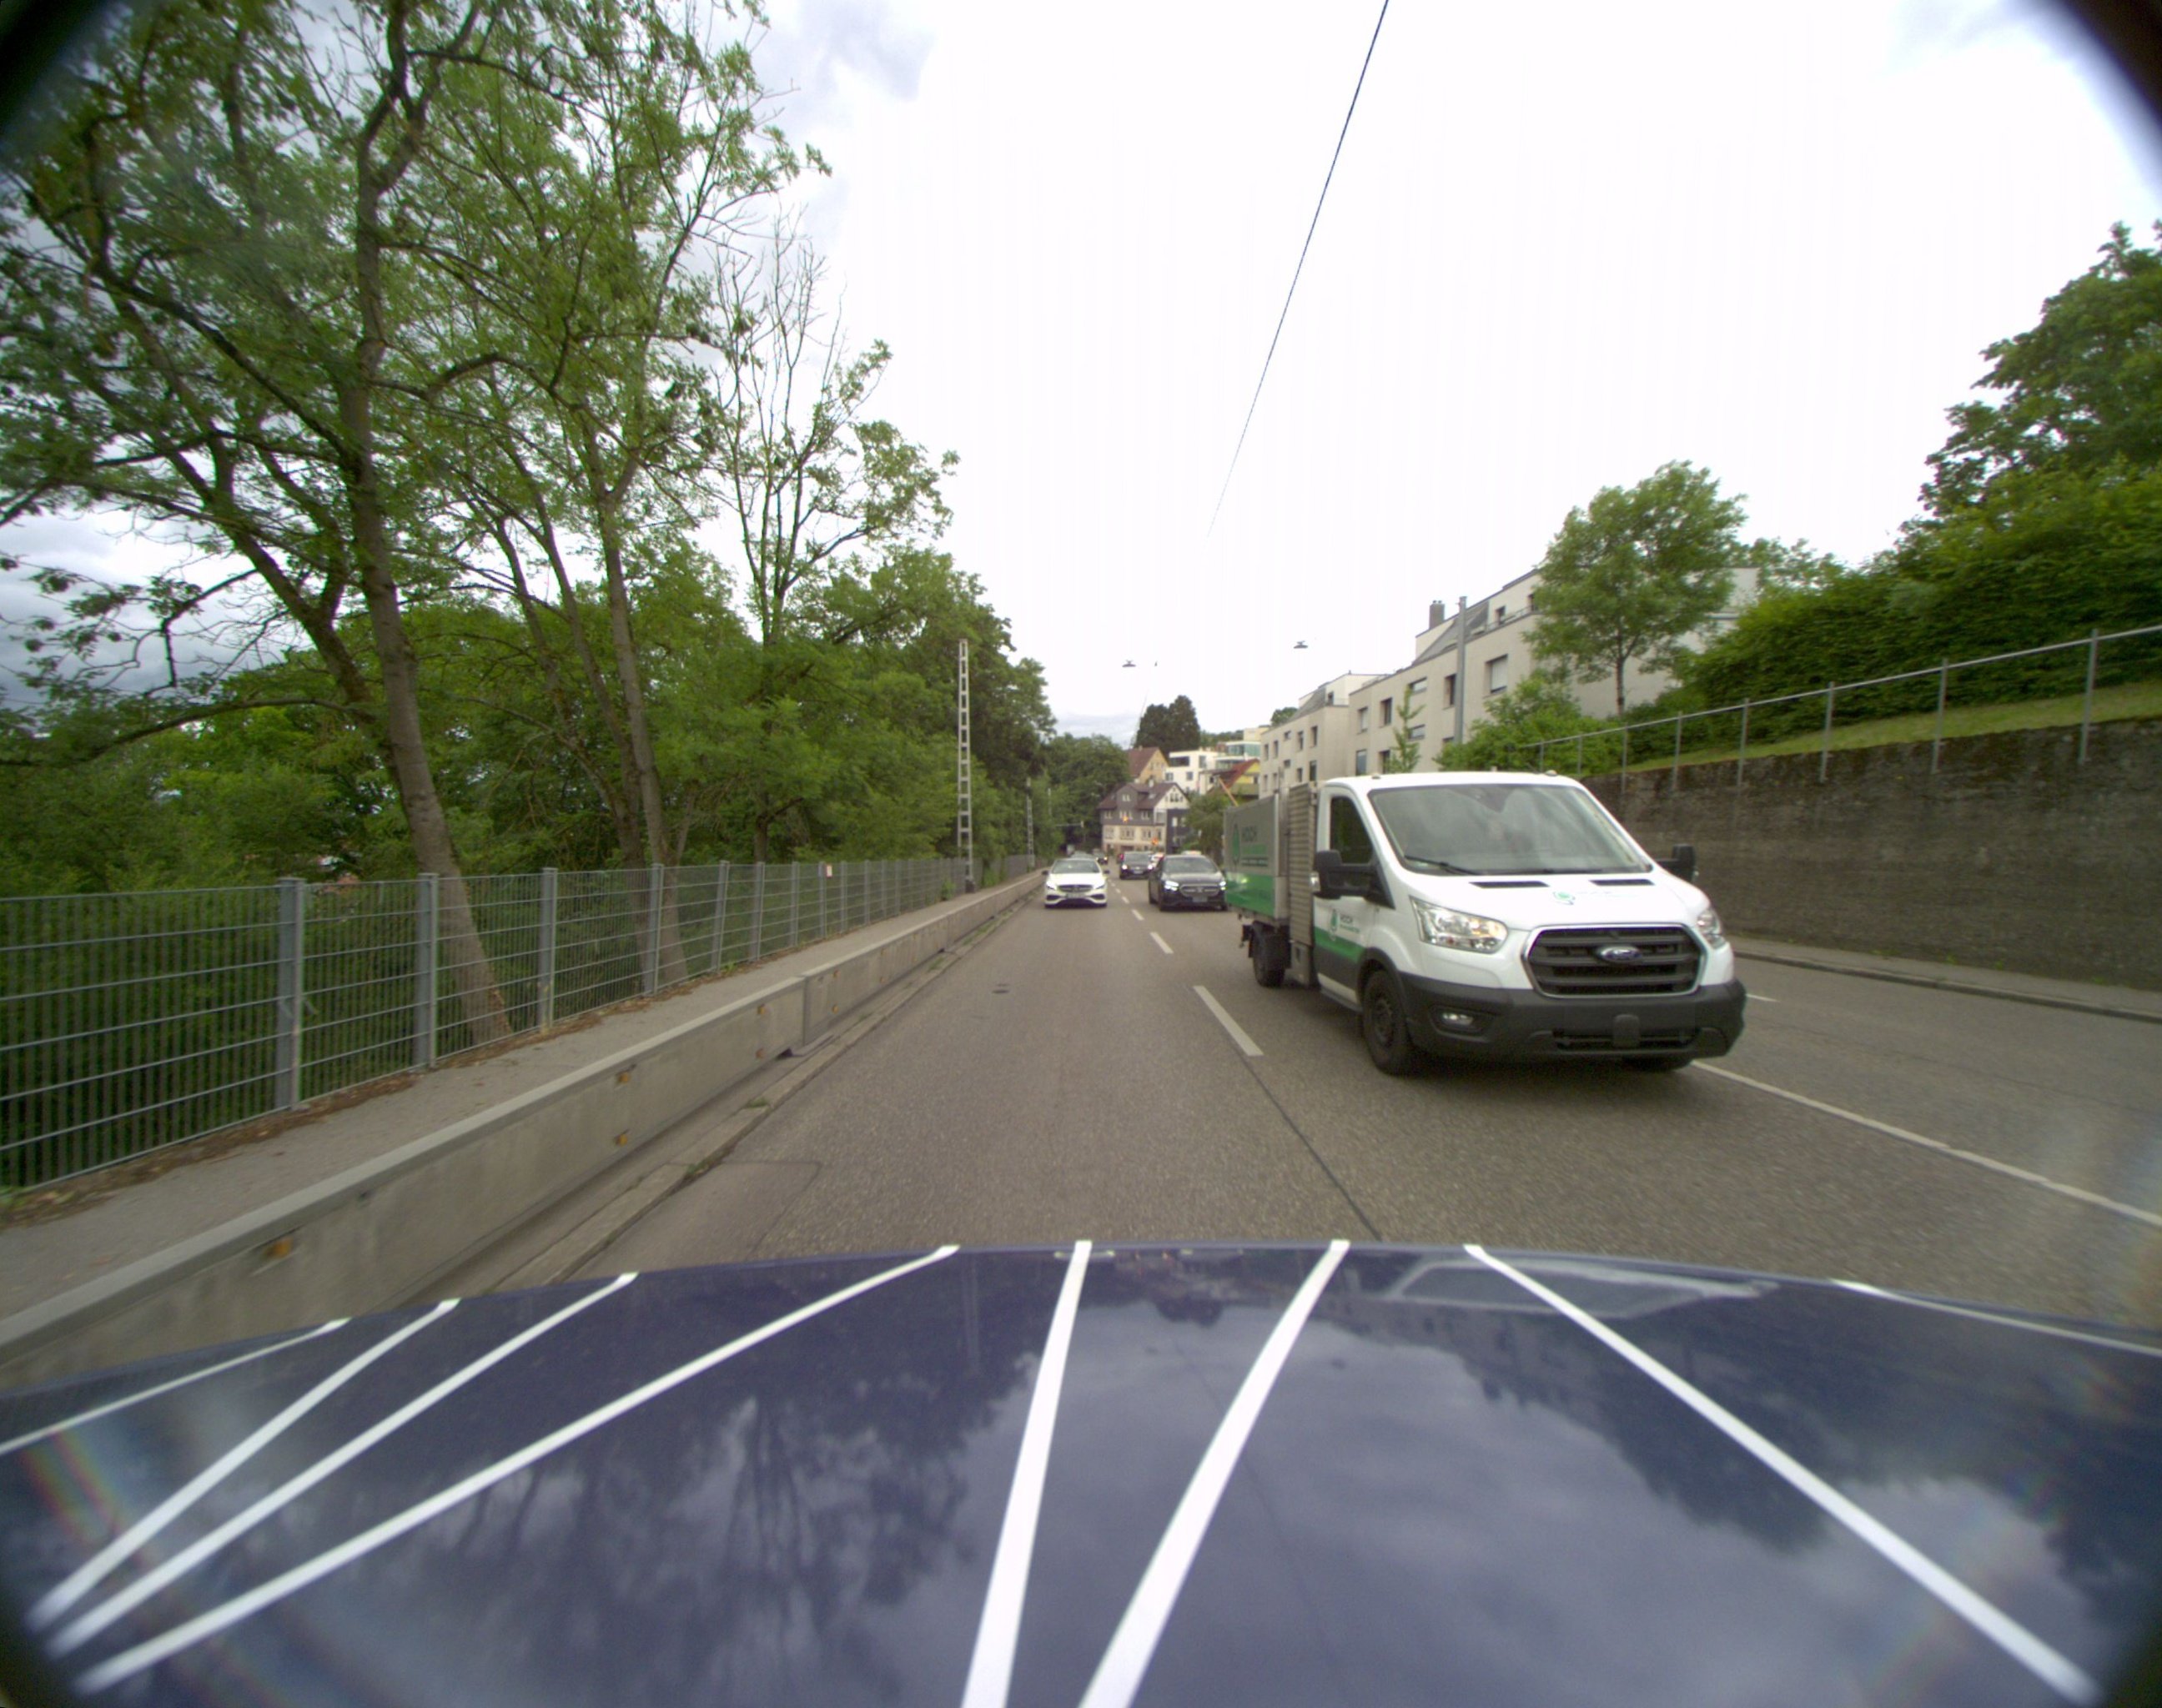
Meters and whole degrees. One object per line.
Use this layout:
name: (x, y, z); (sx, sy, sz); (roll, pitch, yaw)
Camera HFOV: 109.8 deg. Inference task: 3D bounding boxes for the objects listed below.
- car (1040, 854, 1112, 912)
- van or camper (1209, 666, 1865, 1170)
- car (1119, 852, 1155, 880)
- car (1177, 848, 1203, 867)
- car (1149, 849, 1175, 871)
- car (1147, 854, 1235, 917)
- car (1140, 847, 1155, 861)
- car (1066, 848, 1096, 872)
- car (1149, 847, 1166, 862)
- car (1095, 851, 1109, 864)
car: (-0.060, 0.796, 22.907); (1.808, 1.521, 4.001); (-1, 1, 4)
van or camper: (2.974, 0.342, 7.064); (2.349, 2.646, 5.964); (-2, 0, -2)
car: (3.220, 0.678, 44.327); (1.878, 1.521, 4.000); (0, 1, 1)
car: (9.538, 0.288, 66.669); (1.709, 1.702, 3.868); (0, 0, 1)
car: (6.461, 0.474, 61.041); (1.709, 1.702, 3.868); (0, 0, 1)
car: (2.930, 0.794, 21.082); (1.878, 1.521, 4.335); (0, 1, 1)
car: (9.002, -0.062, 102.446); (1.743, 1.873, 3.743); (0, 0, 1)
car: (0.022, 0.393, 50.665); (1.878, 1.521, 4.000); (0, 1, 1)
car: (9.548, 0.089, 95.084); (1.743, 1.873, 3.743); (0, 0, 1)
car: (2.803, 0.393, 101.751); (1.709, 1.702, 3.868); (0, 0, 1)
